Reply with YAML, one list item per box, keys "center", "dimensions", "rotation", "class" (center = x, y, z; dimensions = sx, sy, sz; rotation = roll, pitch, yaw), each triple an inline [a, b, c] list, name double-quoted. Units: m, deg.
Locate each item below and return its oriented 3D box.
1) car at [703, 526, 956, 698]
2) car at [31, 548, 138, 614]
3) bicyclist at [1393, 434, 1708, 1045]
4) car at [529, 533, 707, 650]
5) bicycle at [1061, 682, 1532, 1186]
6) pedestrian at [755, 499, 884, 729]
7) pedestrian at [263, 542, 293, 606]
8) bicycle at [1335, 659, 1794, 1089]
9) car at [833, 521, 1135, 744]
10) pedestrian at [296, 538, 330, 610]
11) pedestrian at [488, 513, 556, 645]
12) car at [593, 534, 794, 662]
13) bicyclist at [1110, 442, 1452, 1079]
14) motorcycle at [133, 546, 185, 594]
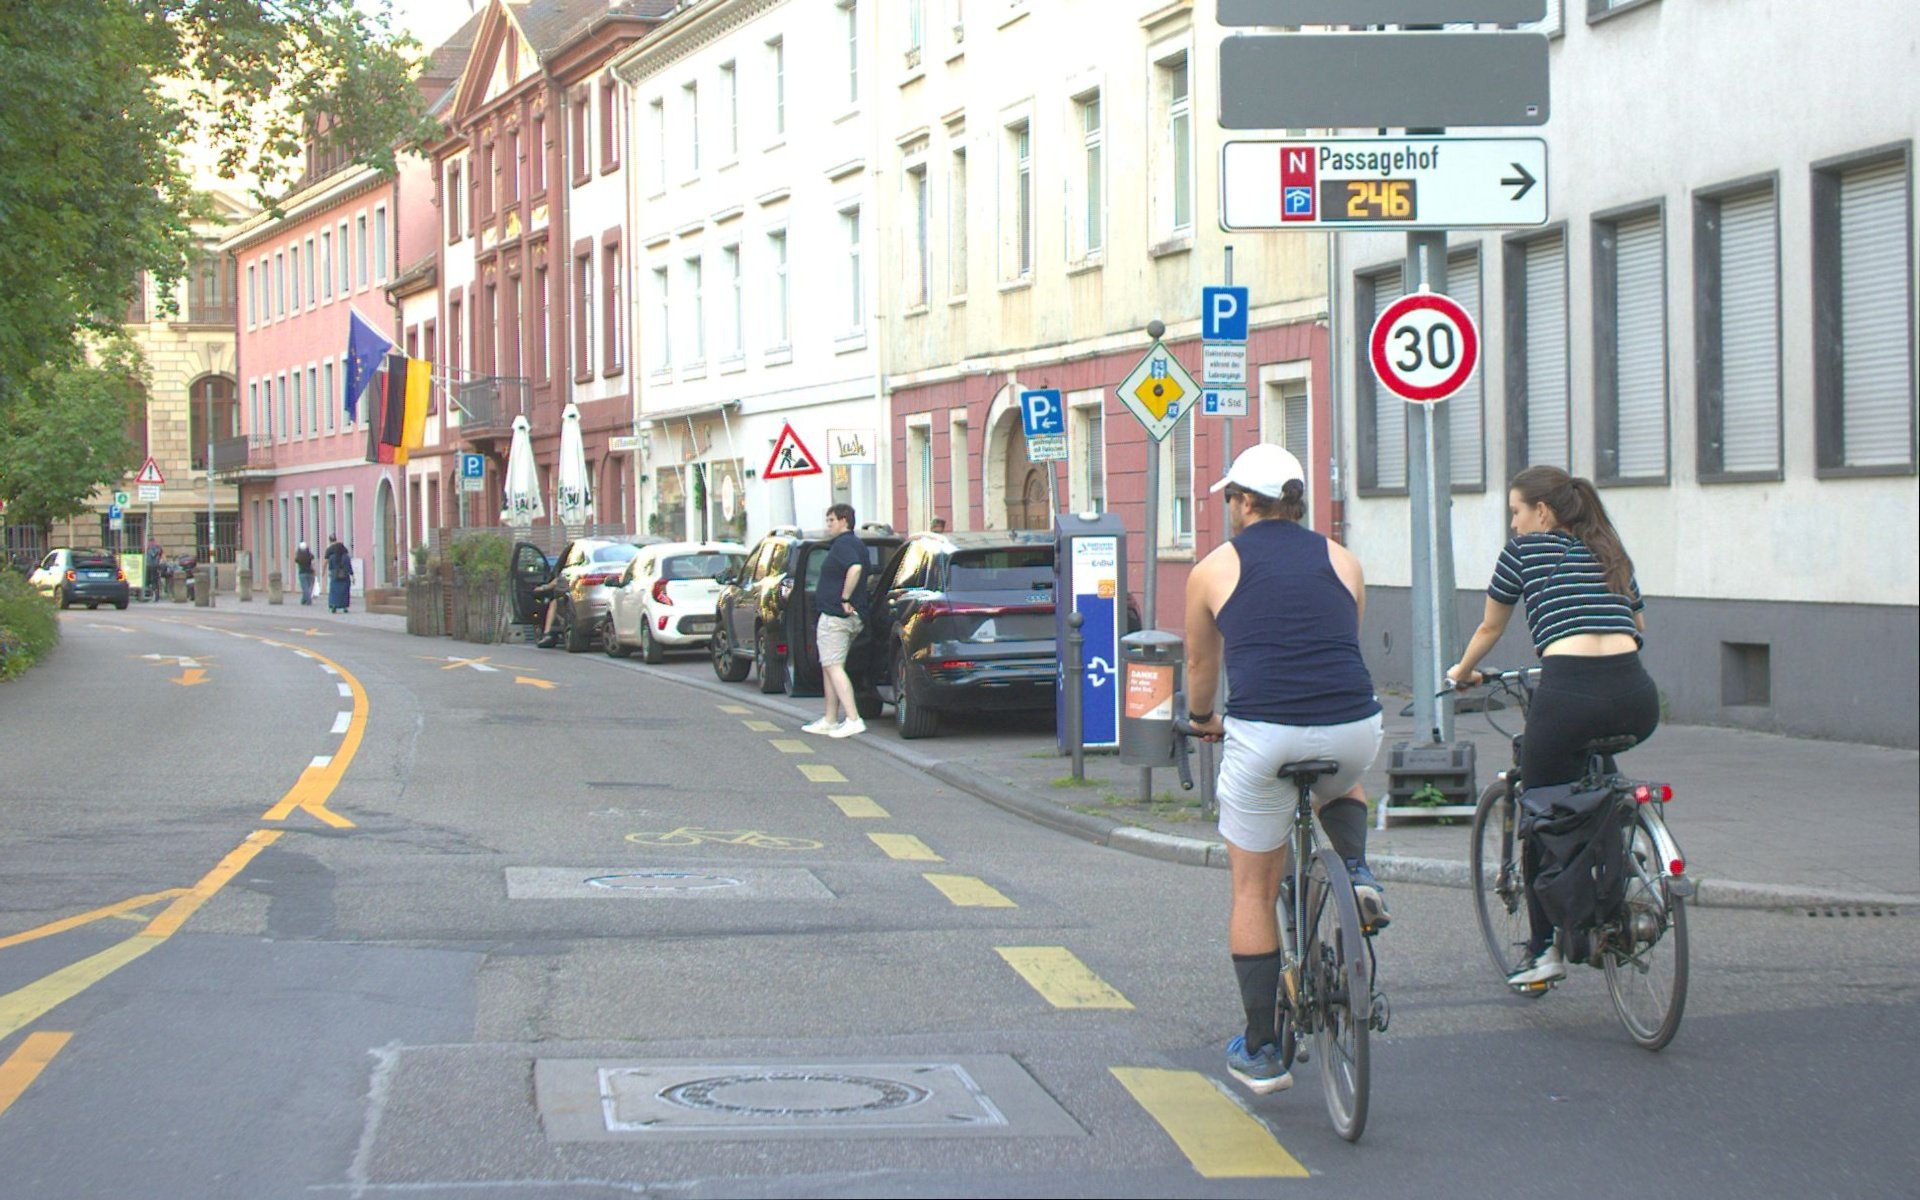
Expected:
- center: [-1.428, 0.083, 35.943]
  dimensions: [1.812, 1.678, 4.001]
  rotation: [-1, 1, -15]
  class: "car"
- center: [-21.597, -0.491, 84.758]
  dimensions: [1.812, 1.554, 3.866]
  rotation: [-1, 1, -26]
  class: "car"
- center: [1.756, 0.395, 10.331]
  dimensions: [0.649, 1.754, 0.864]
  rotation: [1, 1, -8]
  class: "bicyclist"
- center: [-4.843, -0.148, 48.280]
  dimensions: [1.812, 1.554, 3.866]
  rotation: [-1, 1, -16]
  class: "car"
- center: [0.803, 0.787, 8.819]
  dimensions: [0.669, 1.067, 1.902]
  rotation: [1, 1, -11]
  class: "bicycle"
- center: [-1.167, 0.106, 28.383]
  dimensions: [0.900, 1.859, 0.932]
  rotation: [-1, 1, -12]
  class: "pedestrian"
- center: [-16.967, -0.659, 85.520]
  dimensions: [0.667, 1.576, 0.586]
  rotation: [-1, 1, -18]
  class: "pedestrian"
- center: [1.746, 0.757, 10.342]
  dimensions: [0.652, 1.067, 2.259]
  rotation: [1, 1, -8]
  class: "bicycle"
- center: [0.117, 0.206, 28.024]
  dimensions: [1.812, 1.676, 3.920]
  rotation: [-1, 1, -9]
  class: "car"
- center: [-15.951, -0.639, 84.750]
  dimensions: [0.750, 1.756, 0.586]
  rotation: [-1, 1, -18]
  class: "pedestrian"
- center: [-6.209, -0.304, 48.792]
  dimensions: [0.831, 1.838, 0.958]
  rotation: [0, 2, 0]
  class: "pedestrian"
- center: [-3.452, -0.063, 43.939]
  dimensions: [1.812, 1.554, 3.866]
  rotation: [-1, 1, -16]
  class: "car"
- center: [0.808, 0.394, 8.808]
  dimensions: [0.668, 1.560, 0.699]
  rotation: [1, 1, -11]
  class: "bicyclist"
- center: [-21.169, -0.799, 90.868]
  dimensions: [1.041, 1.244, 2.399]
  rotation: [-1, 1, -20]
  class: "motorcycle"
